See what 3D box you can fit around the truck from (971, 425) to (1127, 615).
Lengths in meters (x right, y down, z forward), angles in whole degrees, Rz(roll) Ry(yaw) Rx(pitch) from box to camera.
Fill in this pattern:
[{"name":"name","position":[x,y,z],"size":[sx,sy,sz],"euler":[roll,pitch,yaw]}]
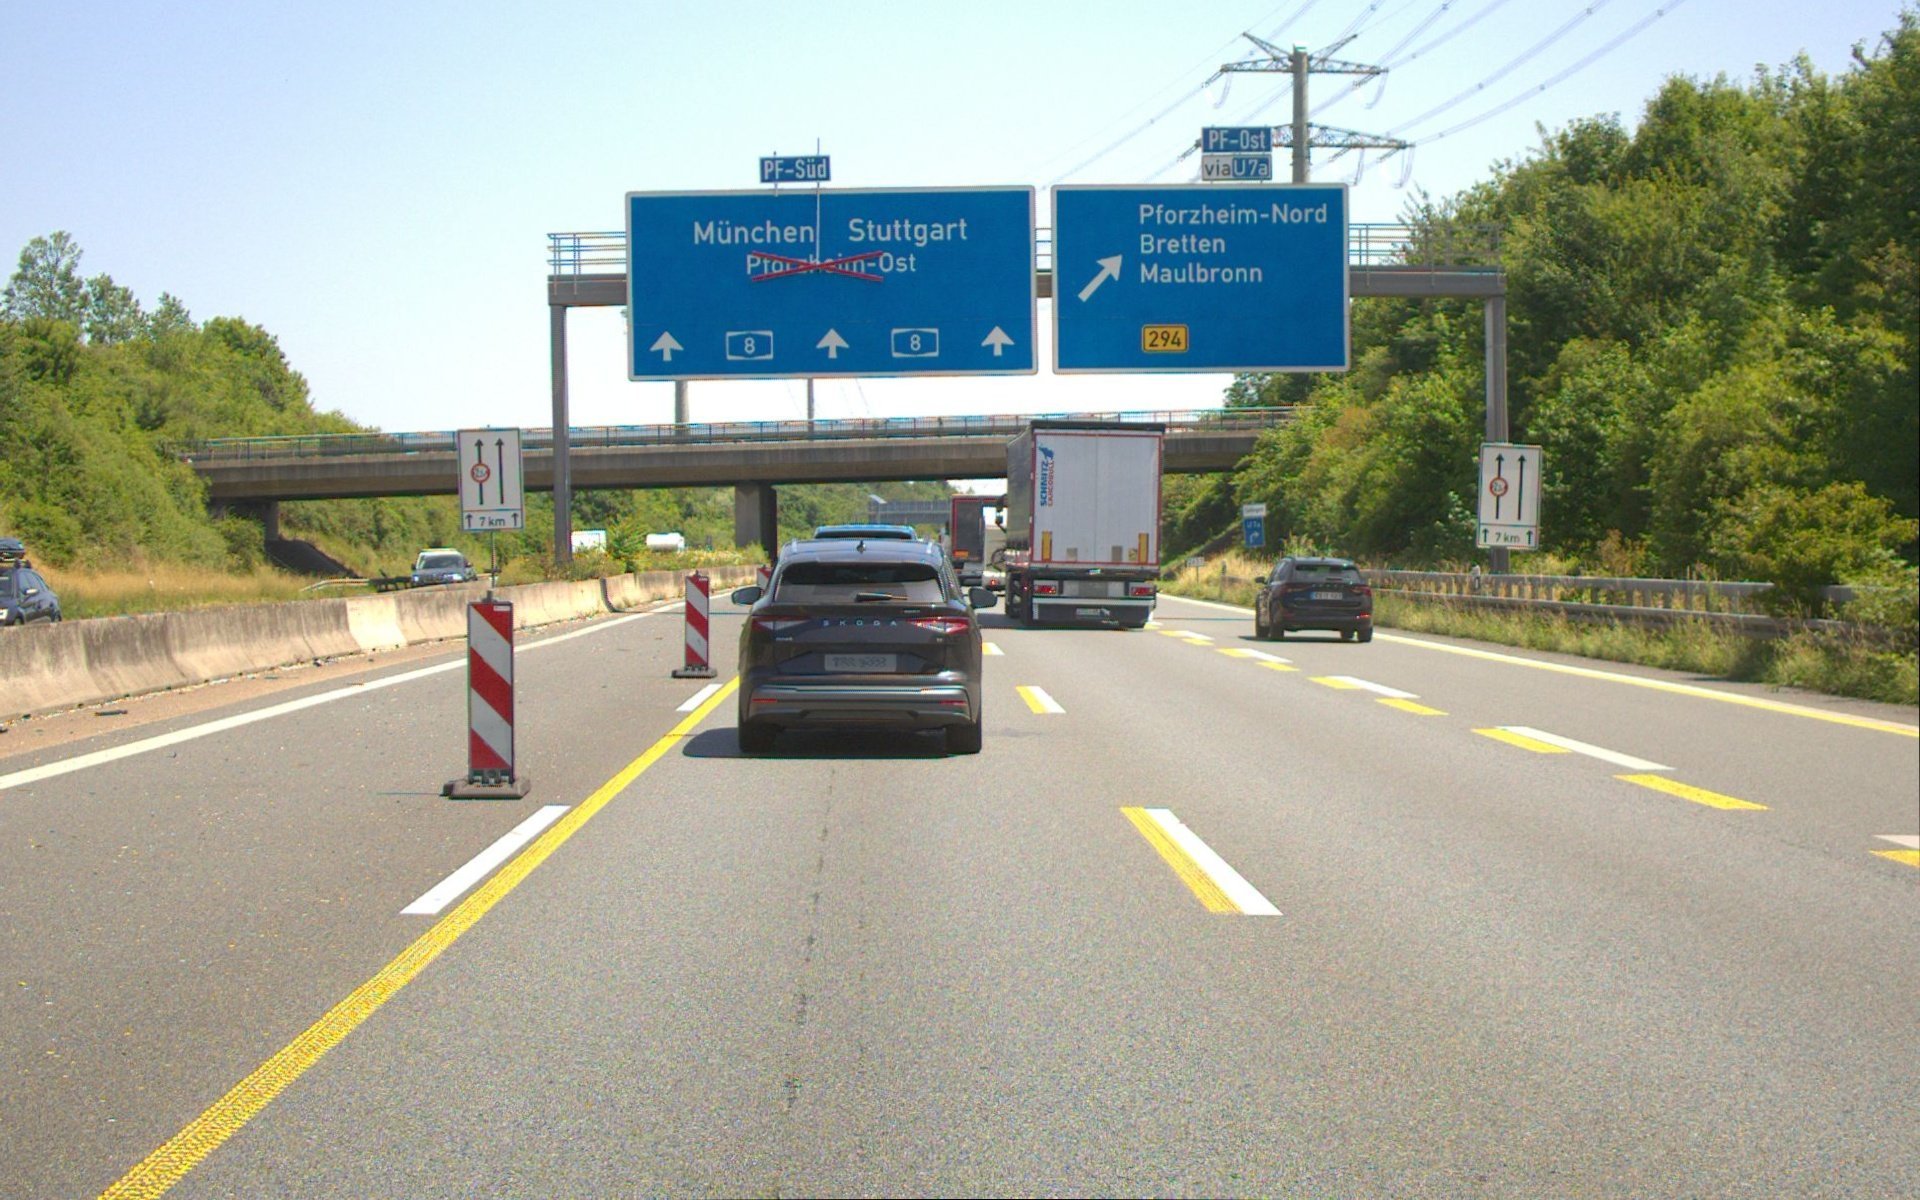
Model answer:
[{"name":"truck","position":[1.938,-1.813,78.238],"size":[3.024,4.073,7.796],"euler":[0,1,-2]}]

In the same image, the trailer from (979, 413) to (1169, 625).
[{"name":"trailer","position":[2.209,-1.660,71.436],"size":[3.065,4.028,11.489],"euler":[0,1,-2]}]

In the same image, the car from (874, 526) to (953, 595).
[{"name":"car","position":[-1.215,-1.029,87.946],"size":[1.895,1.504,4.443],"euler":[2,3,-2]}]

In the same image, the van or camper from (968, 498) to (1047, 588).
[{"name":"van or camper","position":[1.562,-1.939,116.022],"size":[2.586,2.958,6.085],"euler":[0,1,0]}]

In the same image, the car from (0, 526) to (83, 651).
[{"name":"car","position":[-14.650,-0.196,52.078],"size":[1.741,1.812,4.623],"euler":[-1,1,-3]}]

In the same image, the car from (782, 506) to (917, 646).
[{"name":"car","position":[-1.683,-0.415,52.506],"size":[1.895,1.835,4.444],"euler":[3,3,-2]}]

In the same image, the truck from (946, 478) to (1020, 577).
[{"name":"truck","position":[0.979,-3.203,152.659],"size":[3.078,4.132,13.055],"euler":[1,1,0]}]

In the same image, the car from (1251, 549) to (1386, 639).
[{"name":"car","position":[6.274,-0.140,60.618],"size":[1.779,1.484,4.464],"euler":[1,1,-1]}]

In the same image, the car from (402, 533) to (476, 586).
[{"name":"car","position":[-17.945,-1.395,118.511],"size":[1.913,1.747,4.566],"euler":[1,1,-1]}]

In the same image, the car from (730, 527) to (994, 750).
[{"name":"car","position":[-0.783,0.231,26.959],"size":[1.895,1.586,4.443],"euler":[0,1,-2]}]
